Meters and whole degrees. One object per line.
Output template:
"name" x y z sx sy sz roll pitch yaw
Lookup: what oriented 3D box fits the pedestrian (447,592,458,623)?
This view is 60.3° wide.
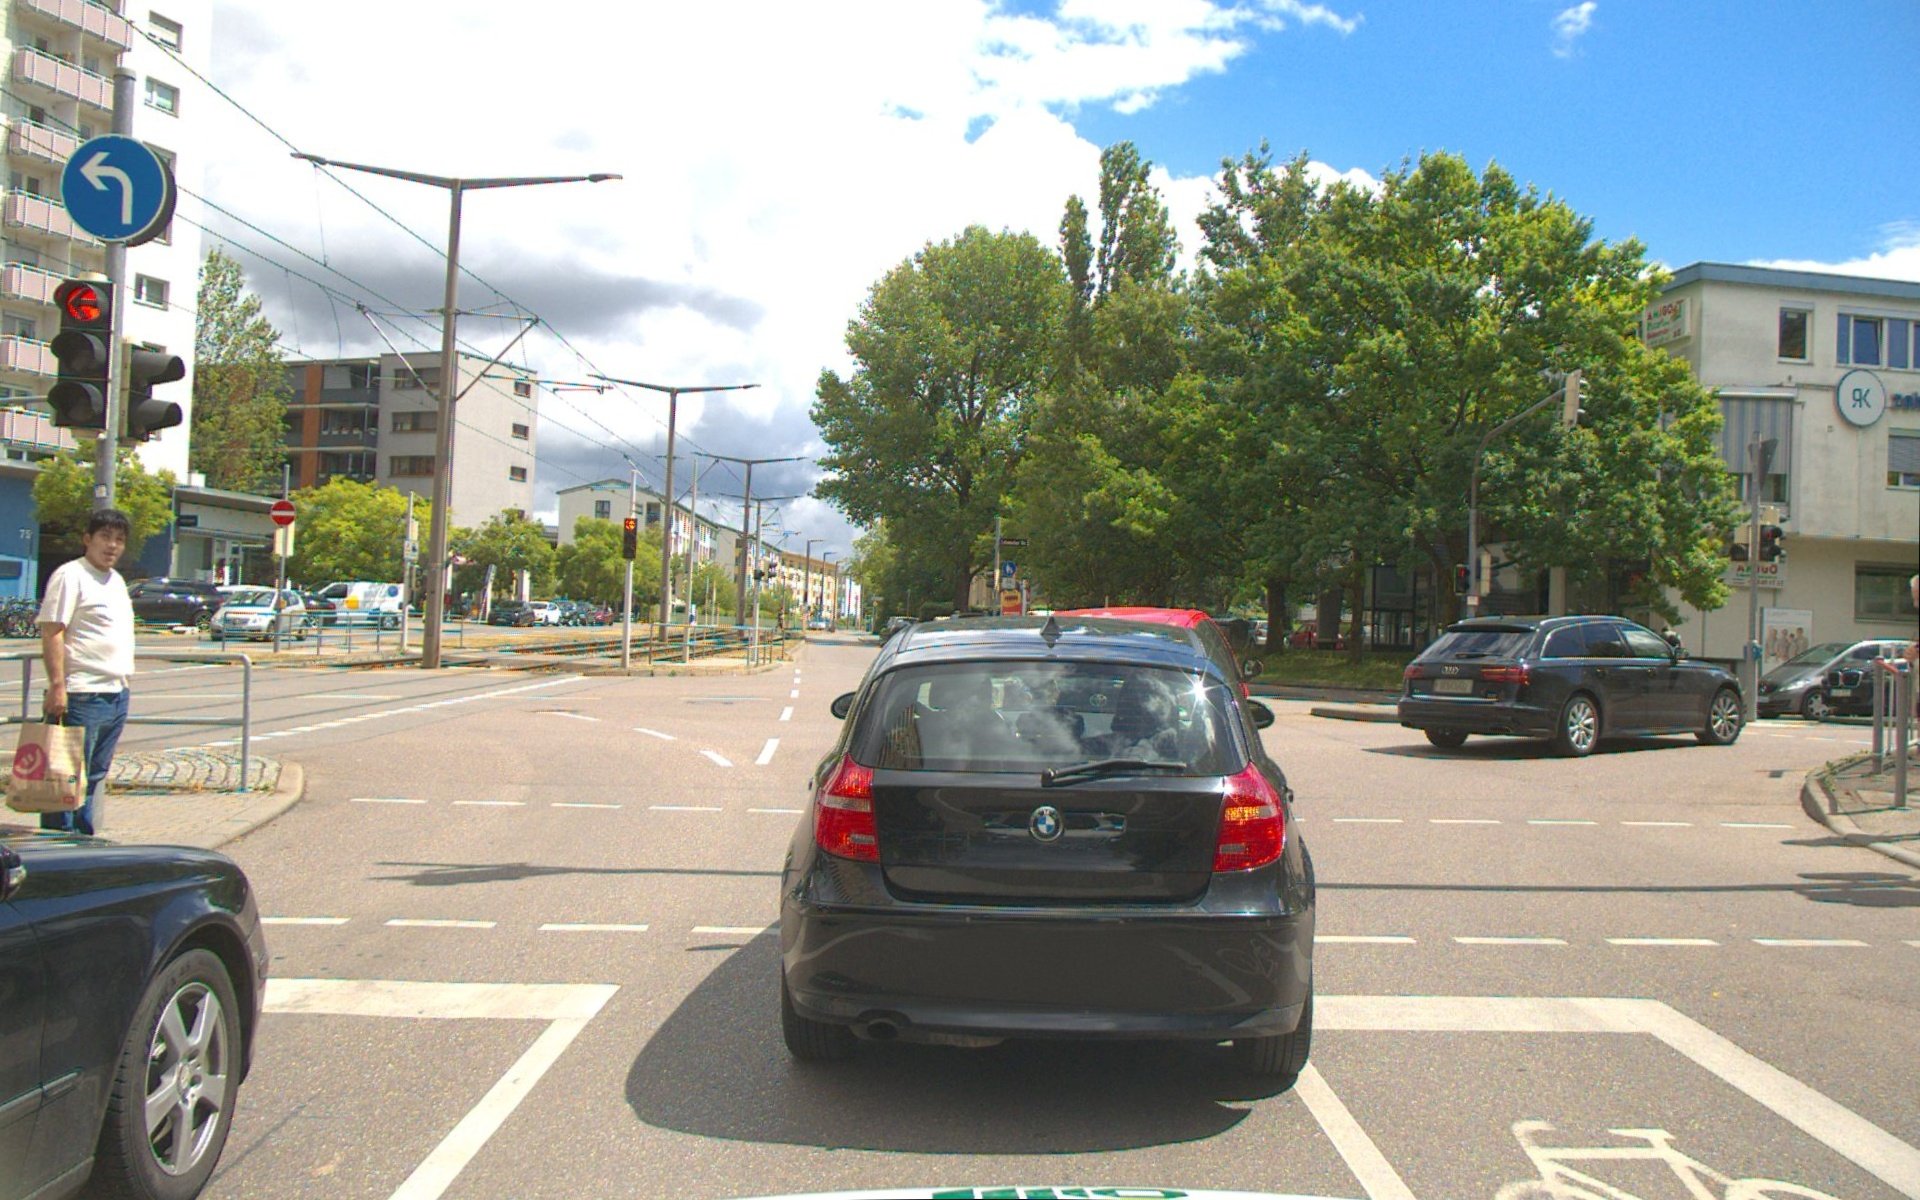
"pedestrian" -28.311 0.428 92.269 0.537 1.746 0.404 1 0 -11

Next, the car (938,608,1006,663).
"car" 0.370 1.154 54.208 2.108 1.713 3.999 1 -1 -1

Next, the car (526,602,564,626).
"car" -25.250 0.843 100.623 1.728 1.419 3.994 1 0 -7

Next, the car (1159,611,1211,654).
"car" 10.416 1.486 76.851 1.598 1.842 4.029 1 0 -4

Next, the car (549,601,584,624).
"car" -25.451 0.779 107.116 1.728 1.419 3.994 1 0 -7

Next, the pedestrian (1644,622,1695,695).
"pedestrian" 16.895 1.381 39.423 0.753 1.672 0.906 2 0 -5

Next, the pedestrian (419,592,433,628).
"pedestrian" -26.455 0.499 81.977 0.537 1.746 0.667 1 0 -10

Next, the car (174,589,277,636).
"car" -26.779 0.455 60.261 4.144 1.597 1.949 1 0 43

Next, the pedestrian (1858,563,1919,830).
"pedestrian" 6.551 0.617 10.887 0.932 1.703 0.871 0 0 14

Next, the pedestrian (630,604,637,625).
"pedestrian" -26.820 1.172 135.893 0.444 1.665 0.480 1 0 -3

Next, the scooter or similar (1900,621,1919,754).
"scooter or similar" 9.208 0.819 14.944 1.338 1.176 0.539 3 0 -26

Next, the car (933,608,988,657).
"car" -0.017 1.212 61.650 1.953 1.713 3.999 1 -1 -1

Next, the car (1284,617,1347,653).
"car" 17.067 1.650 79.608 1.698 1.623 3.993 1 0 -8

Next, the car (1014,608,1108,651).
"car" 4.637 1.337 75.776 3.933 1.855 1.766 1 0 -23

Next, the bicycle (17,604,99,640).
"bicycle" -24.691 0.604 45.286 1.909 0.951 0.494 1 -1 -7

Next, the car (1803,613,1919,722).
"car" 17.180 1.158 28.423 4.472 1.747 1.997 1 0 -8

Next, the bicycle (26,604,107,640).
"bicycle" -24.737 0.605 45.801 1.909 0.951 0.494 1 -1 -7

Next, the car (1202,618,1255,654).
"car" 12.575 1.663 77.755 1.598 1.600 4.029 1 0 -4

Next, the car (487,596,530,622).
"car" -25.379 0.502 93.068 1.728 1.419 3.994 1 0 -7

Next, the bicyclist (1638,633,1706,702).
"bicyclist" 11.195 1.060 26.015 0.775 1.040 0.636 2 0 -1

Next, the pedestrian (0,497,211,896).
"pedestrian" -4.243 0.447 8.038 0.851 1.839 0.741 1 0 -5

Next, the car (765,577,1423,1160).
"car" 0.338 0.709 6.395 1.717 1.513 3.999 1 0 -1

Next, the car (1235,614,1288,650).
"car" 14.397 1.520 79.124 1.598 1.623 3.997 1 0 -4

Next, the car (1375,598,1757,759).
"car" 6.844 0.808 18.490 4.474 1.581 1.973 1 -1 -38

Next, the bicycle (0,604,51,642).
"bicycle" -24.610 0.593 42.703 1.909 0.951 0.494 1 -1 -7

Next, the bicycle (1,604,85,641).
"bicycle" -24.767 0.599 44.700 1.909 0.951 0.494 1 -1 -7

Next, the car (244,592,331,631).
"car" -27.063 0.445 66.492 1.777 1.445 4.148 1 0 -45

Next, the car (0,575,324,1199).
"car" -2.594 0.678 2.269 1.693 1.487 4.543 1 0 -1

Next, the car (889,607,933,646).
"car" -2.257 1.217 77.067 1.953 1.713 3.999 1 0 -1

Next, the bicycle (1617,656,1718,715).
"bicycle" 11.182 1.339 26.206 0.775 0.833 1.807 2 0 -1

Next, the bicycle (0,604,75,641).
"bicycle" -24.756 0.597 44.154 1.909 0.951 0.494 1 -1 -7

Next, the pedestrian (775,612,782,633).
"pedestrian" -14.340 1.760 130.797 0.469 1.665 0.454 1 0 -2

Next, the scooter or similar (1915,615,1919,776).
"scooter or similar" 8.399 0.789 13.125 1.315 1.299 0.462 1 1 6

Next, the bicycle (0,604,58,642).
"bicycle" -24.666 0.594 43.175 1.909 0.951 0.494 1 -1 -7

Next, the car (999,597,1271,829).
"car" 1.424 0.735 12.438 1.509 1.466 3.198 1 0 15

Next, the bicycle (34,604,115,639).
"bicycle" -24.784 0.607 46.300 1.909 0.951 0.494 1 -1 -7

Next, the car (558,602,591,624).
"car" -26.005 0.850 111.753 1.728 1.419 3.994 1 0 -7

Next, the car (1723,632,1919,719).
"car" 17.437 1.477 32.689 3.838 1.583 1.994 1 0 -12

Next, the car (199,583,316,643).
"car" -21.340 0.384 50.412 1.897 1.722 3.872 1 0 -1

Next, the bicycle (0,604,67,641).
"bicycle" -24.712 0.595 43.679 1.909 0.951 0.494 1 -1 -7

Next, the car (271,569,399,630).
"car" -27.093 -0.043 71.554 2.810 2.522 6.614 1 0 -44
